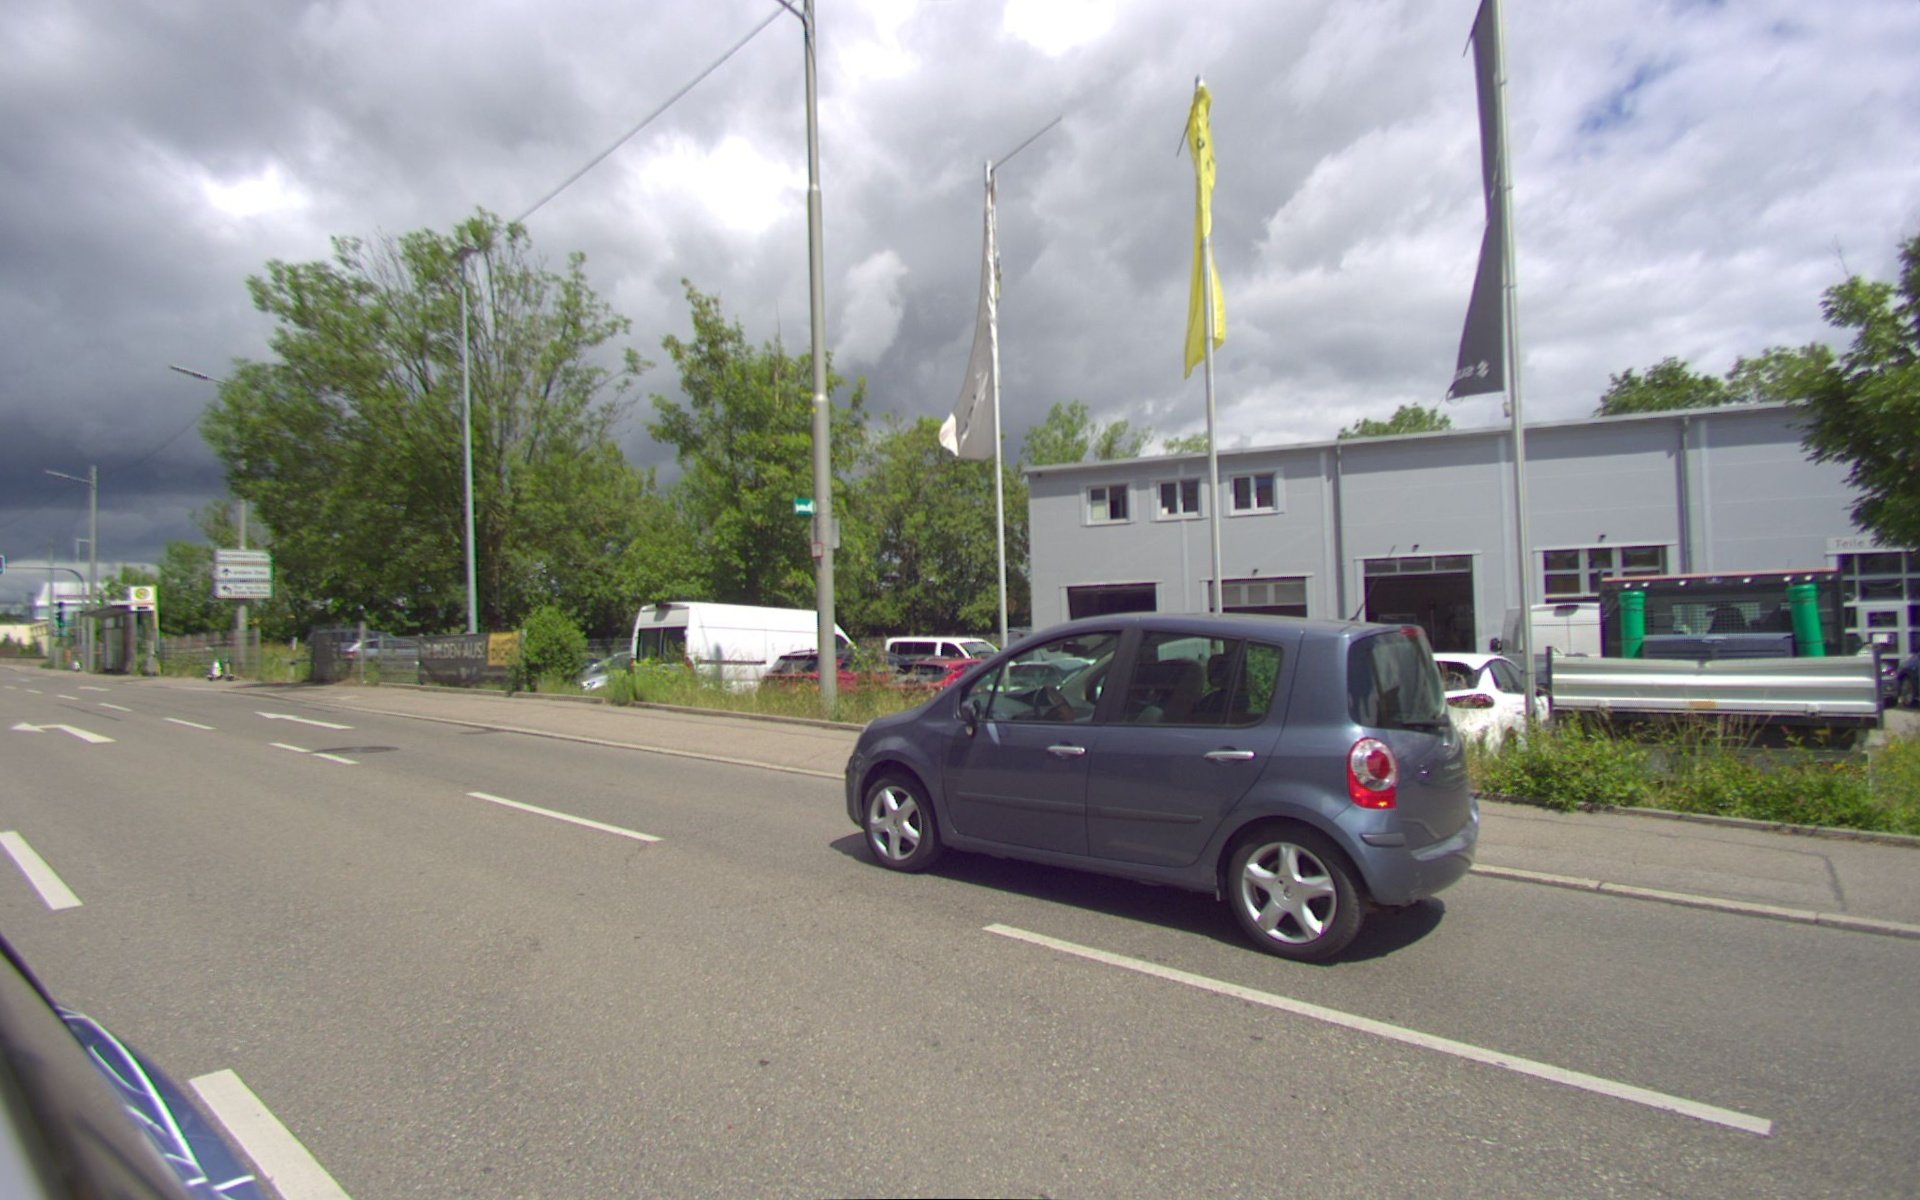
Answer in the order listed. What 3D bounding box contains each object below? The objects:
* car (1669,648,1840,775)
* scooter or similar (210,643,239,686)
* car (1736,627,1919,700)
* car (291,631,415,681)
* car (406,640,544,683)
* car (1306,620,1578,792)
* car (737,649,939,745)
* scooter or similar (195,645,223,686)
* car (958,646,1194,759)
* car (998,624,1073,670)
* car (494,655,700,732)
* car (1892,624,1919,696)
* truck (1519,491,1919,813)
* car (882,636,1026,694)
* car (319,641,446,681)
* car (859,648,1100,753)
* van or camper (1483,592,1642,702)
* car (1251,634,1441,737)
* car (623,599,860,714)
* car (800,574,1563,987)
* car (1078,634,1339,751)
[{"bbox_3d":[11.049,1.421,13.983,1.645,1.338,3.782,-1,-1,41],"label":"car"},{"bbox_3d":[-22.898,2.011,31.493,0.528,1.275,1.473,-2,-1,-43],"label":"scooter or similar"},{"bbox_3d":[20.126,1.419,23.662,1.914,1.420,4.212,-3,-1,21],"label":"car"},{"bbox_3d":[-26.751,2.418,44.710,2.136,2.029,4.240,-2,-2,35],"label":"car"},{"bbox_3d":[-17.739,2.202,37.105,4.226,1.391,1.867,1,-2,-44],"label":"car"},{"bbox_3d":[5.811,1.073,11.979,1.928,1.621,3.844,-1,-1,41],"label":"car"},{"bbox_3d":[-2.164,1.686,18.407,1.728,1.420,3.298,-1,-1,45],"label":"car"},{"bbox_3d":[-24.065,2.084,32.432,0.527,1.272,1.476,-2,-1,-31],"label":"scooter or similar"},{"bbox_3d":[1.816,1.430,15.175,1.712,1.335,3.505,-1,-1,45],"label":"car"},{"bbox_3d":[3.148,1.894,41.434,1.830,1.742,4.142,-2,-2,22],"label":"car"},{"bbox_3d":[-8.192,2.050,23.046,1.928,1.397,3.989,-1,-1,43],"label":"car"},{"bbox_3d":[21.014,1.267,20.225,1.913,1.508,4.216,-1,-1,19],"label":"car"},{"bbox_3d":[7.372,0.408,9.826,2.474,2.164,5.804,-1,-1,39],"label":"truck"},{"bbox_3d":[-0.268,2.126,33.683,4.917,1.742,1.816,-3,-3,44],"label":"car"},{"bbox_3d":[-24.134,2.529,42.437,1.905,1.498,4.241,-2,-2,34],"label":"car"},{"bbox_3d":[0.422,1.616,17.348,1.930,1.397,3.987,-1,-1,45],"label":"car"},{"bbox_3d":[14.649,1.115,25.027,2.487,2.373,5.855,-3,-2,23],"label":"van or camper"},{"bbox_3d":[6.560,1.328,17.007,1.835,1.420,3.642,-1,-1,41],"label":"car"},{"bbox_3d":[-4.265,1.061,20.190,2.196,2.029,4.119,-4,-2,39],"label":"car"},{"bbox_3d":[1.053,0.793,5.950,4.040,1.608,1.725,-2,-4,41],"label":"car"},{"bbox_3d":[3.434,1.129,13.597,1.928,1.221,3.677,-1,-1,41],"label":"car"}]
